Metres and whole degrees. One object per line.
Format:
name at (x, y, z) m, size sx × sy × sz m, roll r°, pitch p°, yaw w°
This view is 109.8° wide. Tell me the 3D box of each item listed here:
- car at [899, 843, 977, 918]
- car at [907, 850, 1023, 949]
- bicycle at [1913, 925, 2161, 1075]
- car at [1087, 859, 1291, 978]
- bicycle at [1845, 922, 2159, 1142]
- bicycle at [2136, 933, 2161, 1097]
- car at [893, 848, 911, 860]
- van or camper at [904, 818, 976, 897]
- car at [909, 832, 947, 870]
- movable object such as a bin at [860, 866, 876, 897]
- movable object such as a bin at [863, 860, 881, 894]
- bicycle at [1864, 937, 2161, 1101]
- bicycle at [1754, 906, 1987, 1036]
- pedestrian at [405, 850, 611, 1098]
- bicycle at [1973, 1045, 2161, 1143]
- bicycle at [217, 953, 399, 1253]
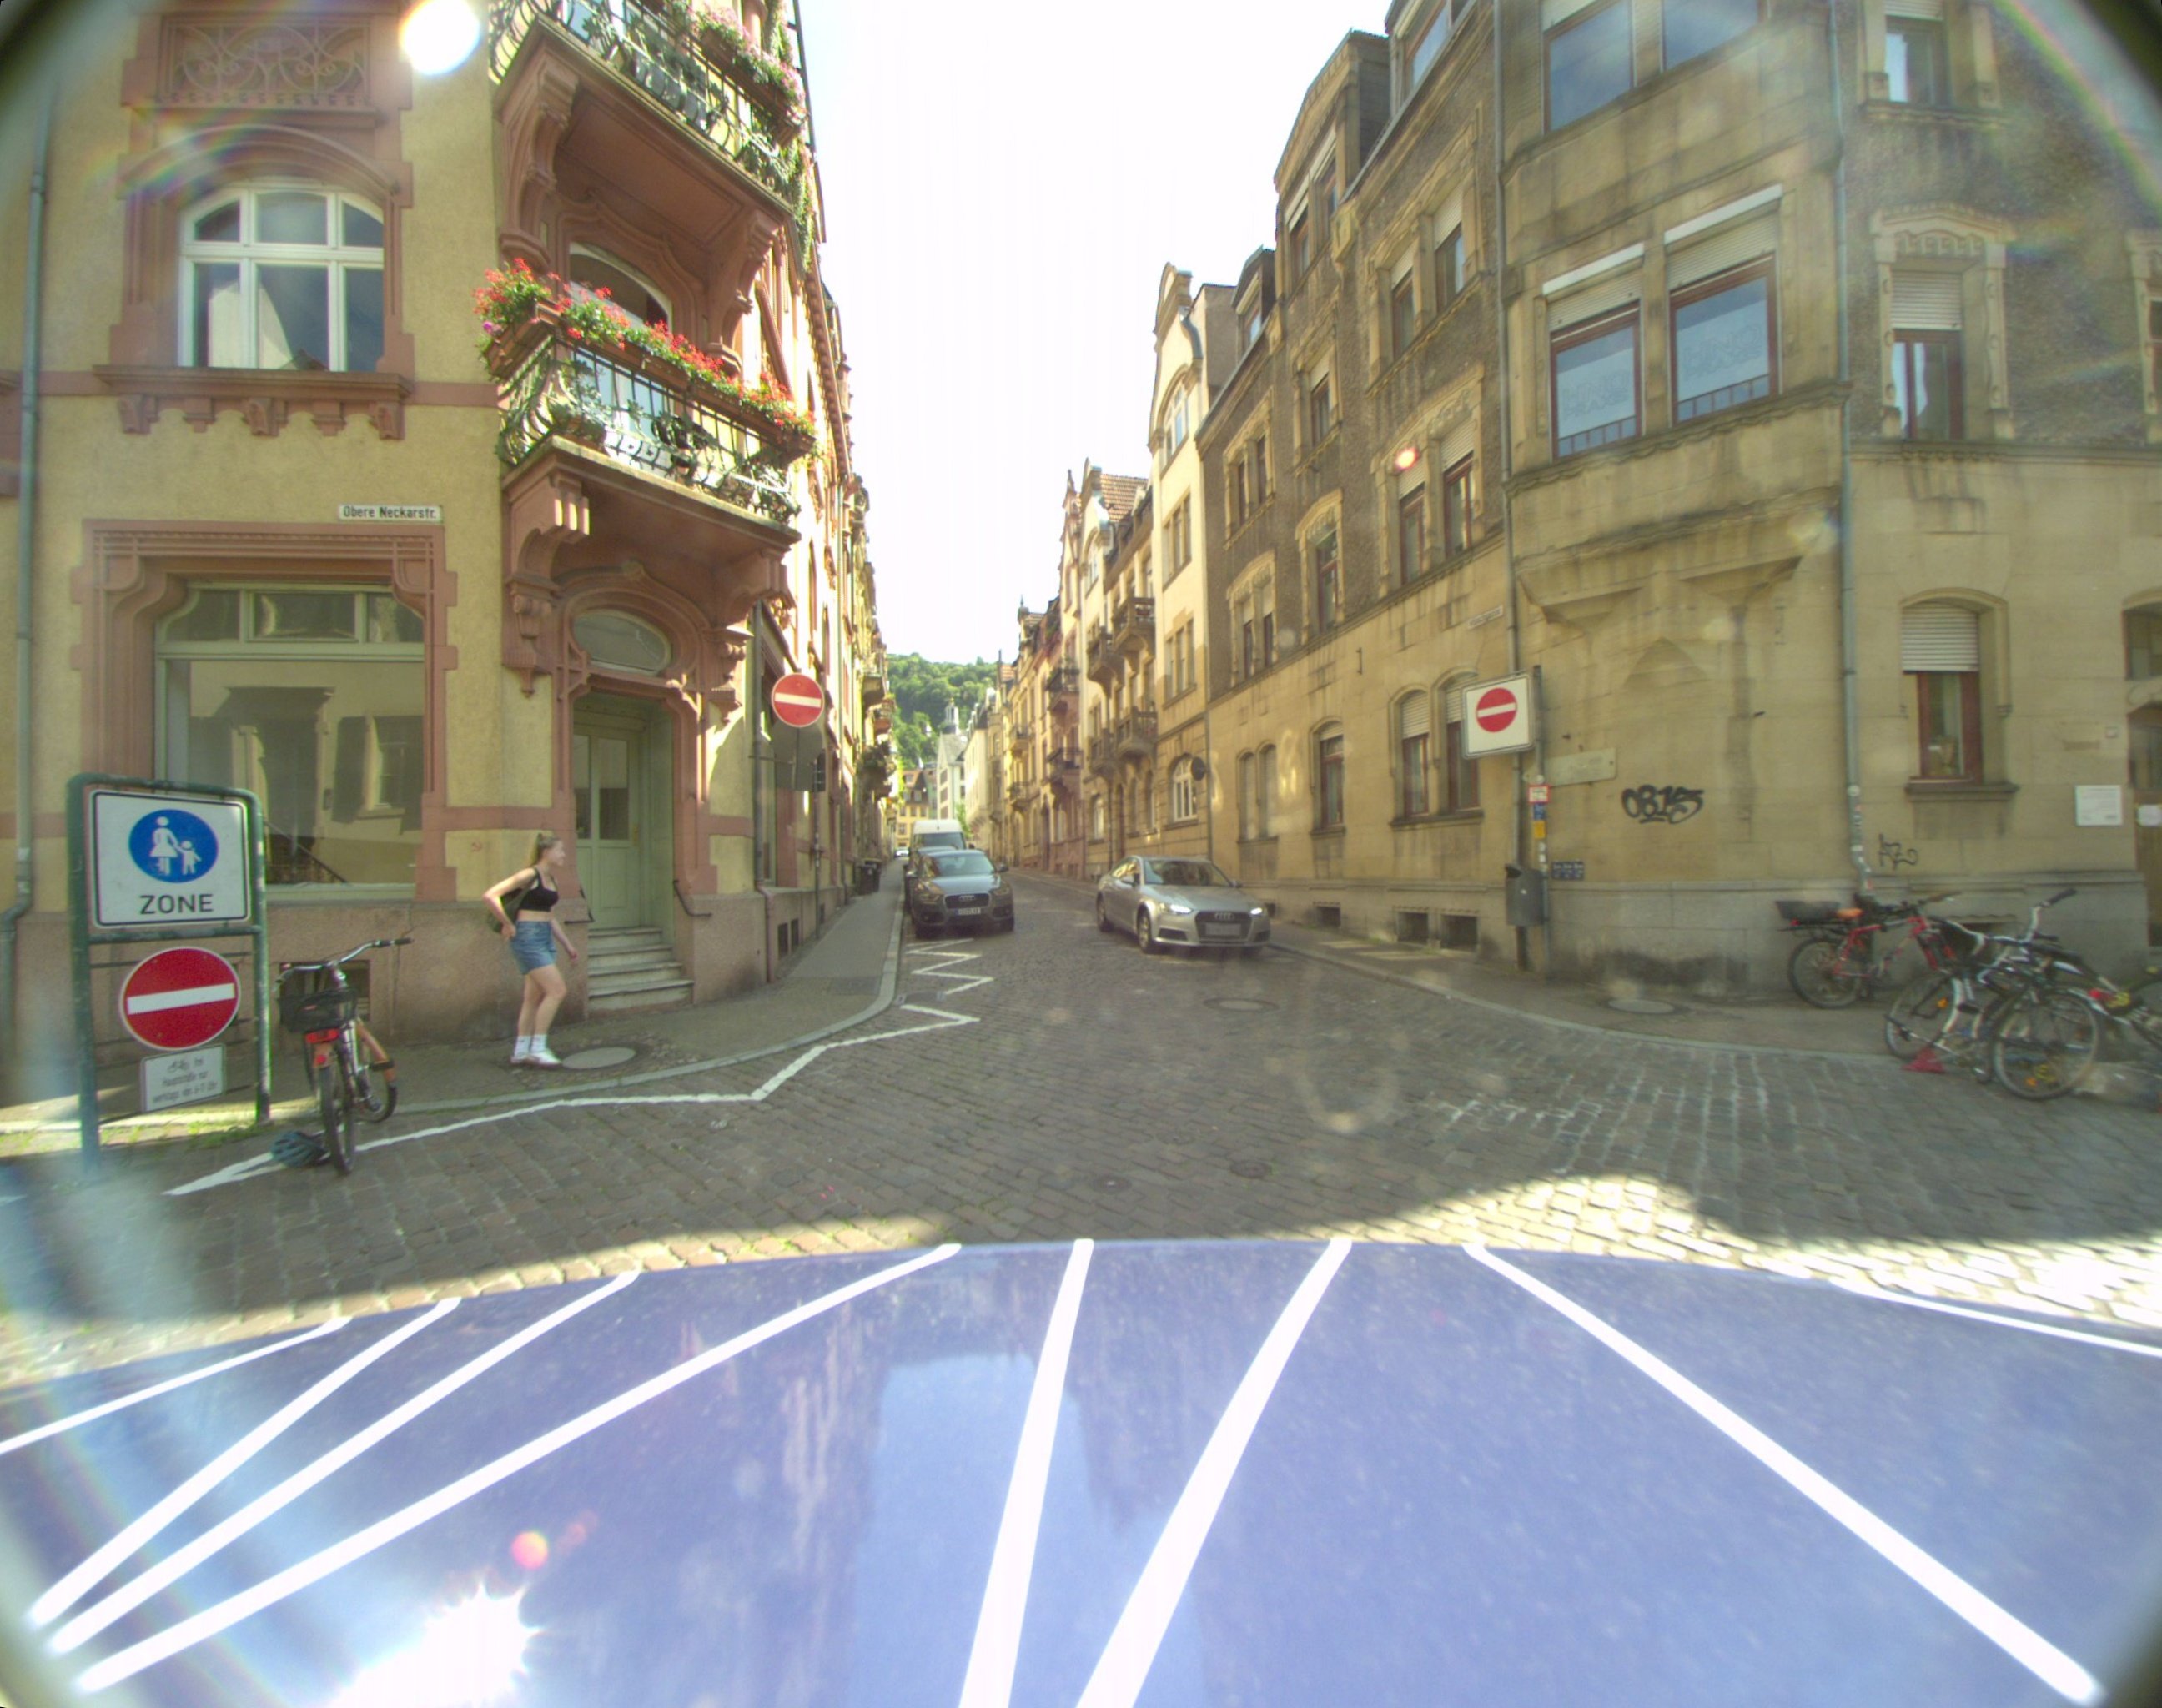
car at (-3.881, 0.609, 20.413) m, size 1.762 × 1.696 × 3.995 m, roll -4°, pitch 2°, yaw -12°
car at (-2.468, 0.764, 15.228) m, size 1.863 × 1.574 × 4.254 m, roll -3°, pitch 1°, yaw -14°
bicycle at (7.056, 1.024, 5.159) m, size 0.285 × 1.080 × 1.640 m, roll -46°, pitch 10°, yaw -10°
car at (1.505, 0.873, 12.386) m, size 1.878 × 1.484 × 4.378 m, roll -1°, pitch 1°, yaw -12°
bicycle at (5.925, 1.065, 5.032) m, size 0.285 × 1.079 × 1.644 m, roll -5°, pitch -1°, yaw 11°
bicycle at (7.711, 1.034, 4.501) m, size 0.286 × 1.079 × 1.639 m, roll 1°, pitch -4°, yaw -30°
car at (-24.698, 0.027, 104.635) m, size 2.002 × 1.652 × 3.994 m, roll -1°, pitch -1°, yaw -19°
van or camper at (-5.274, 0.018, 27.678) m, size 2.227 × 2.506 × 6.758 m, roll -1°, pitch 2°, yaw -13°
car at (-9.133, -0.149, 45.182) m, size 2.001 × 2.133 × 3.995 m, roll -1°, pitch -1°, yaw -14°
movable object such as a bin at (-6.634, 0.856, 23.655) m, size 0.440 × 0.952 × 0.349 m, roll -1°, pitch 0°, yaw -12°
movable object such as a bin at (-6.817, 0.750, 24.830) m, size 0.517 × 1.083 × 0.421 m, roll -1°, pitch 0°, yaw -12°
bicycle at (6.572, 1.102, 5.053) m, size 0.285 × 1.080 × 1.640 m, roll -46°, pitch 10°, yaw -10°
bicycle at (7.264, 1.058, 7.024) m, size 1.641 × 1.080 × 0.495 m, roll -1°, pitch 4°, yaw -3°
pedestrian at (-4.341, 0.872, 5.826) m, size 0.980 × 1.749 × 0.623 m, roll -2°, pitch 3°, yaw -4°
bicycle at (6.664, 1.462, 4.663) m, size 1.077 × 0.286 × 1.125 m, roll -1°, pitch -1°, yaw 11°
bicycle at (-4.224, 1.227, 4.251) m, size 0.506 × 1.139 × 1.788 m, roll -1°, pitch 0°, yaw -39°
